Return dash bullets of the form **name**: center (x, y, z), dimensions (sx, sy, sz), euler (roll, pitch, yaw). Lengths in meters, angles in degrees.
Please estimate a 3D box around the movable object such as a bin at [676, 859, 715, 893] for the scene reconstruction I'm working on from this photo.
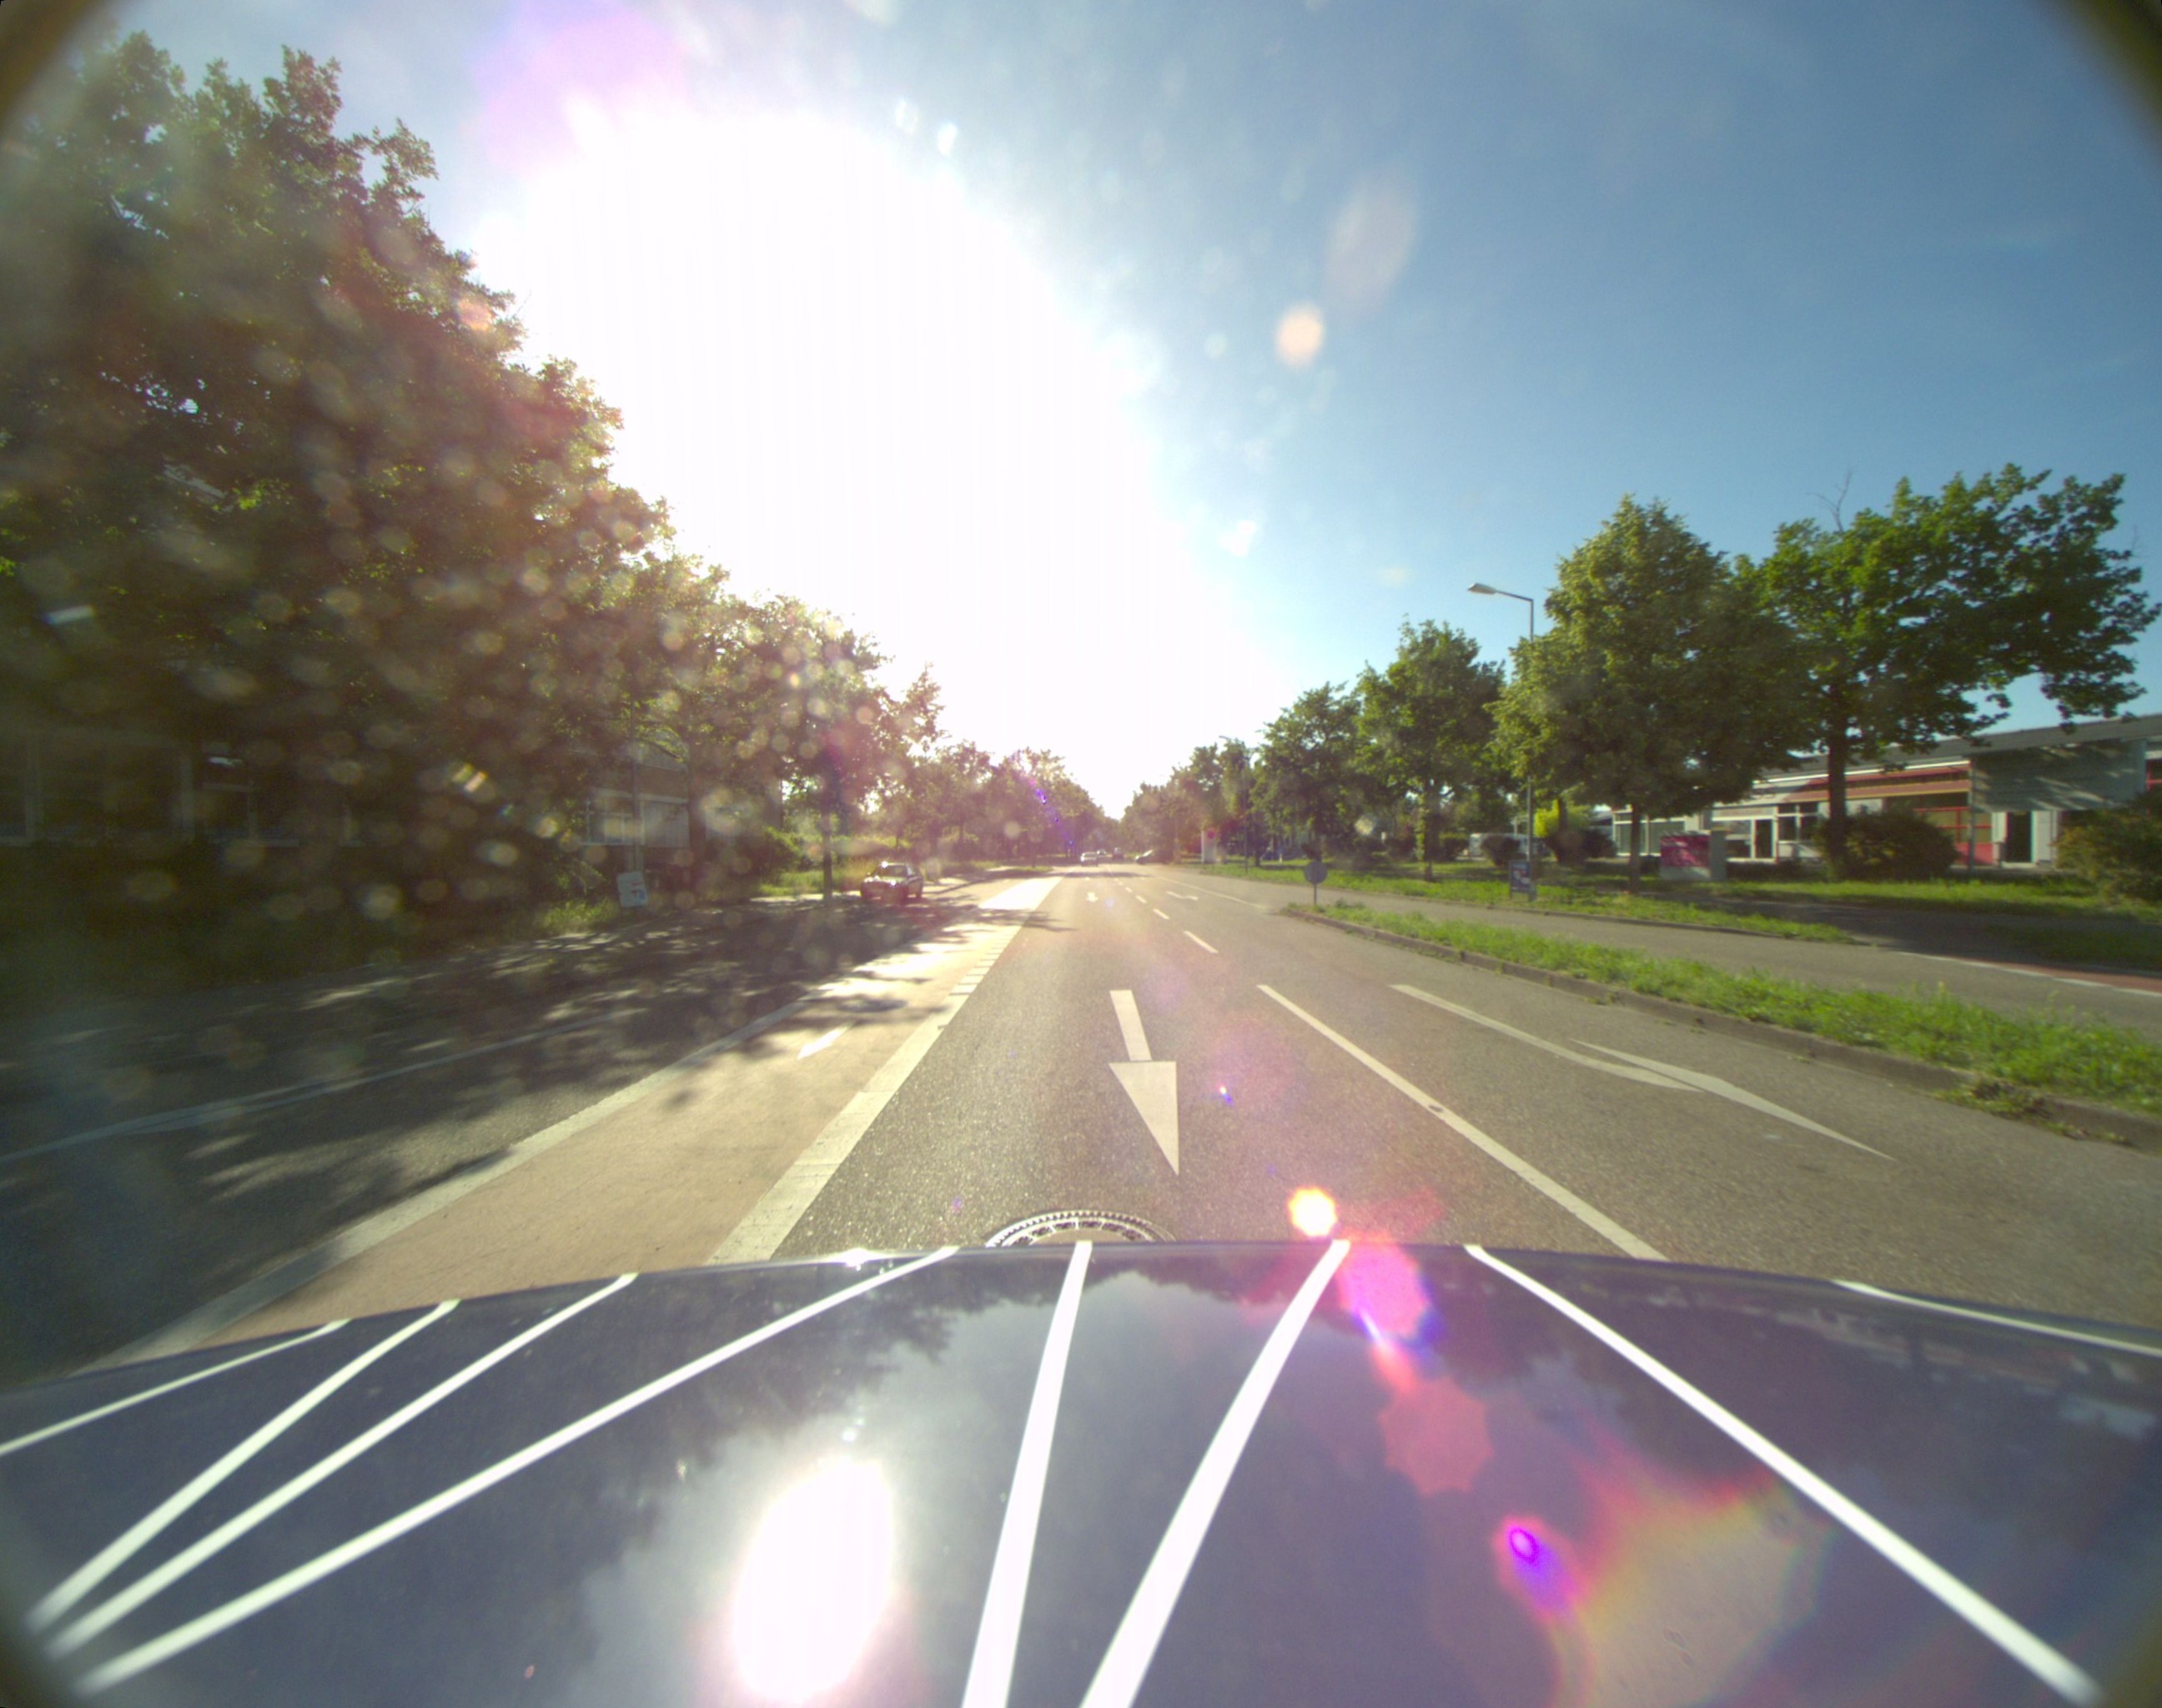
- **movable object such as a bin**: center (-15.366, 0.857, 30.324), dimensions (1.089, 1.314, 0.796), euler (-1, 1, 0)

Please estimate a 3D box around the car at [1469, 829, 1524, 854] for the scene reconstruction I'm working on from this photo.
- **car**: center (39.081, -1.174, 71.466), dimensions (4.212, 2.204, 1.777), euler (-1, 1, -2)

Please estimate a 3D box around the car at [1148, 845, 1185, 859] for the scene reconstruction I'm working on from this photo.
- **car**: center (9.815, -0.235, 87.573), dimensions (4.210, 1.477, 1.778), euler (-1, 1, 5)

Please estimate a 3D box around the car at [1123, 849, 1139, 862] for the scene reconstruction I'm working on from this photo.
- **car**: center (5.787, 0.176, 88.879), dimensions (1.776, 1.477, 4.215), euler (0, 1, 2)

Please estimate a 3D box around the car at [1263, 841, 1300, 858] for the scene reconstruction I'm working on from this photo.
- **car**: center (23.908, -0.551, 90.708), dimensions (3.994, 2.002, 2.001), euler (0, 1, 9)

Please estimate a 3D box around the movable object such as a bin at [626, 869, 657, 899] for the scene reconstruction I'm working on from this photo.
- **movable object such as a bin**: center (-15.970, 1.097, 27.629), dimensions (0.687, 1.036, 0.695), euler (-3, 1, 1)

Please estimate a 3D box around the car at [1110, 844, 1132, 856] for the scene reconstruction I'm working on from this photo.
- **car**: center (6.093, -0.664, 115.242), dimensions (1.995, 1.674, 4.006), euler (-1, 1, 23)

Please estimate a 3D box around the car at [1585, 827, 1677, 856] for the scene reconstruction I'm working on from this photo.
- **car**: center (33.917, -0.768, 46.926), dimensions (4.238, 1.578, 1.997), euler (-3, 1, -1)

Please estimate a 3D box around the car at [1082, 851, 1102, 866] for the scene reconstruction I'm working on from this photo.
- **car**: center (1.128, 0.457, 78.691), dimensions (1.777, 1.477, 3.778), euler (0, 1, -4)

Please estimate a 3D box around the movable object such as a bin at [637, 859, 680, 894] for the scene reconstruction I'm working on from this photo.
- **movable object such as a bin**: center (-16.806, 0.869, 30.231), dimensions (1.208, 1.333, 0.796), euler (-1, 1, 0)

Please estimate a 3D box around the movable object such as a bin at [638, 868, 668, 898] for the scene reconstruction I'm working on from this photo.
- **movable object such as a bin**: center (-15.953, 1.075, 28.349), dimensions (0.687, 1.036, 0.695), euler (-1, 1, 1)

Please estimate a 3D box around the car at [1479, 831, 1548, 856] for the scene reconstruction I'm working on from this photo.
- **car**: center (36.058, -0.872, 63.447), dimensions (4.488, 1.934, 1.998), euler (-2, 1, 7)

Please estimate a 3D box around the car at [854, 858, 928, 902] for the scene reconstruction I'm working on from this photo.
- **car**: center (-7.276, 0.943, 29.487), dimensions (1.776, 1.477, 4.214), euler (0, 1, 1)
